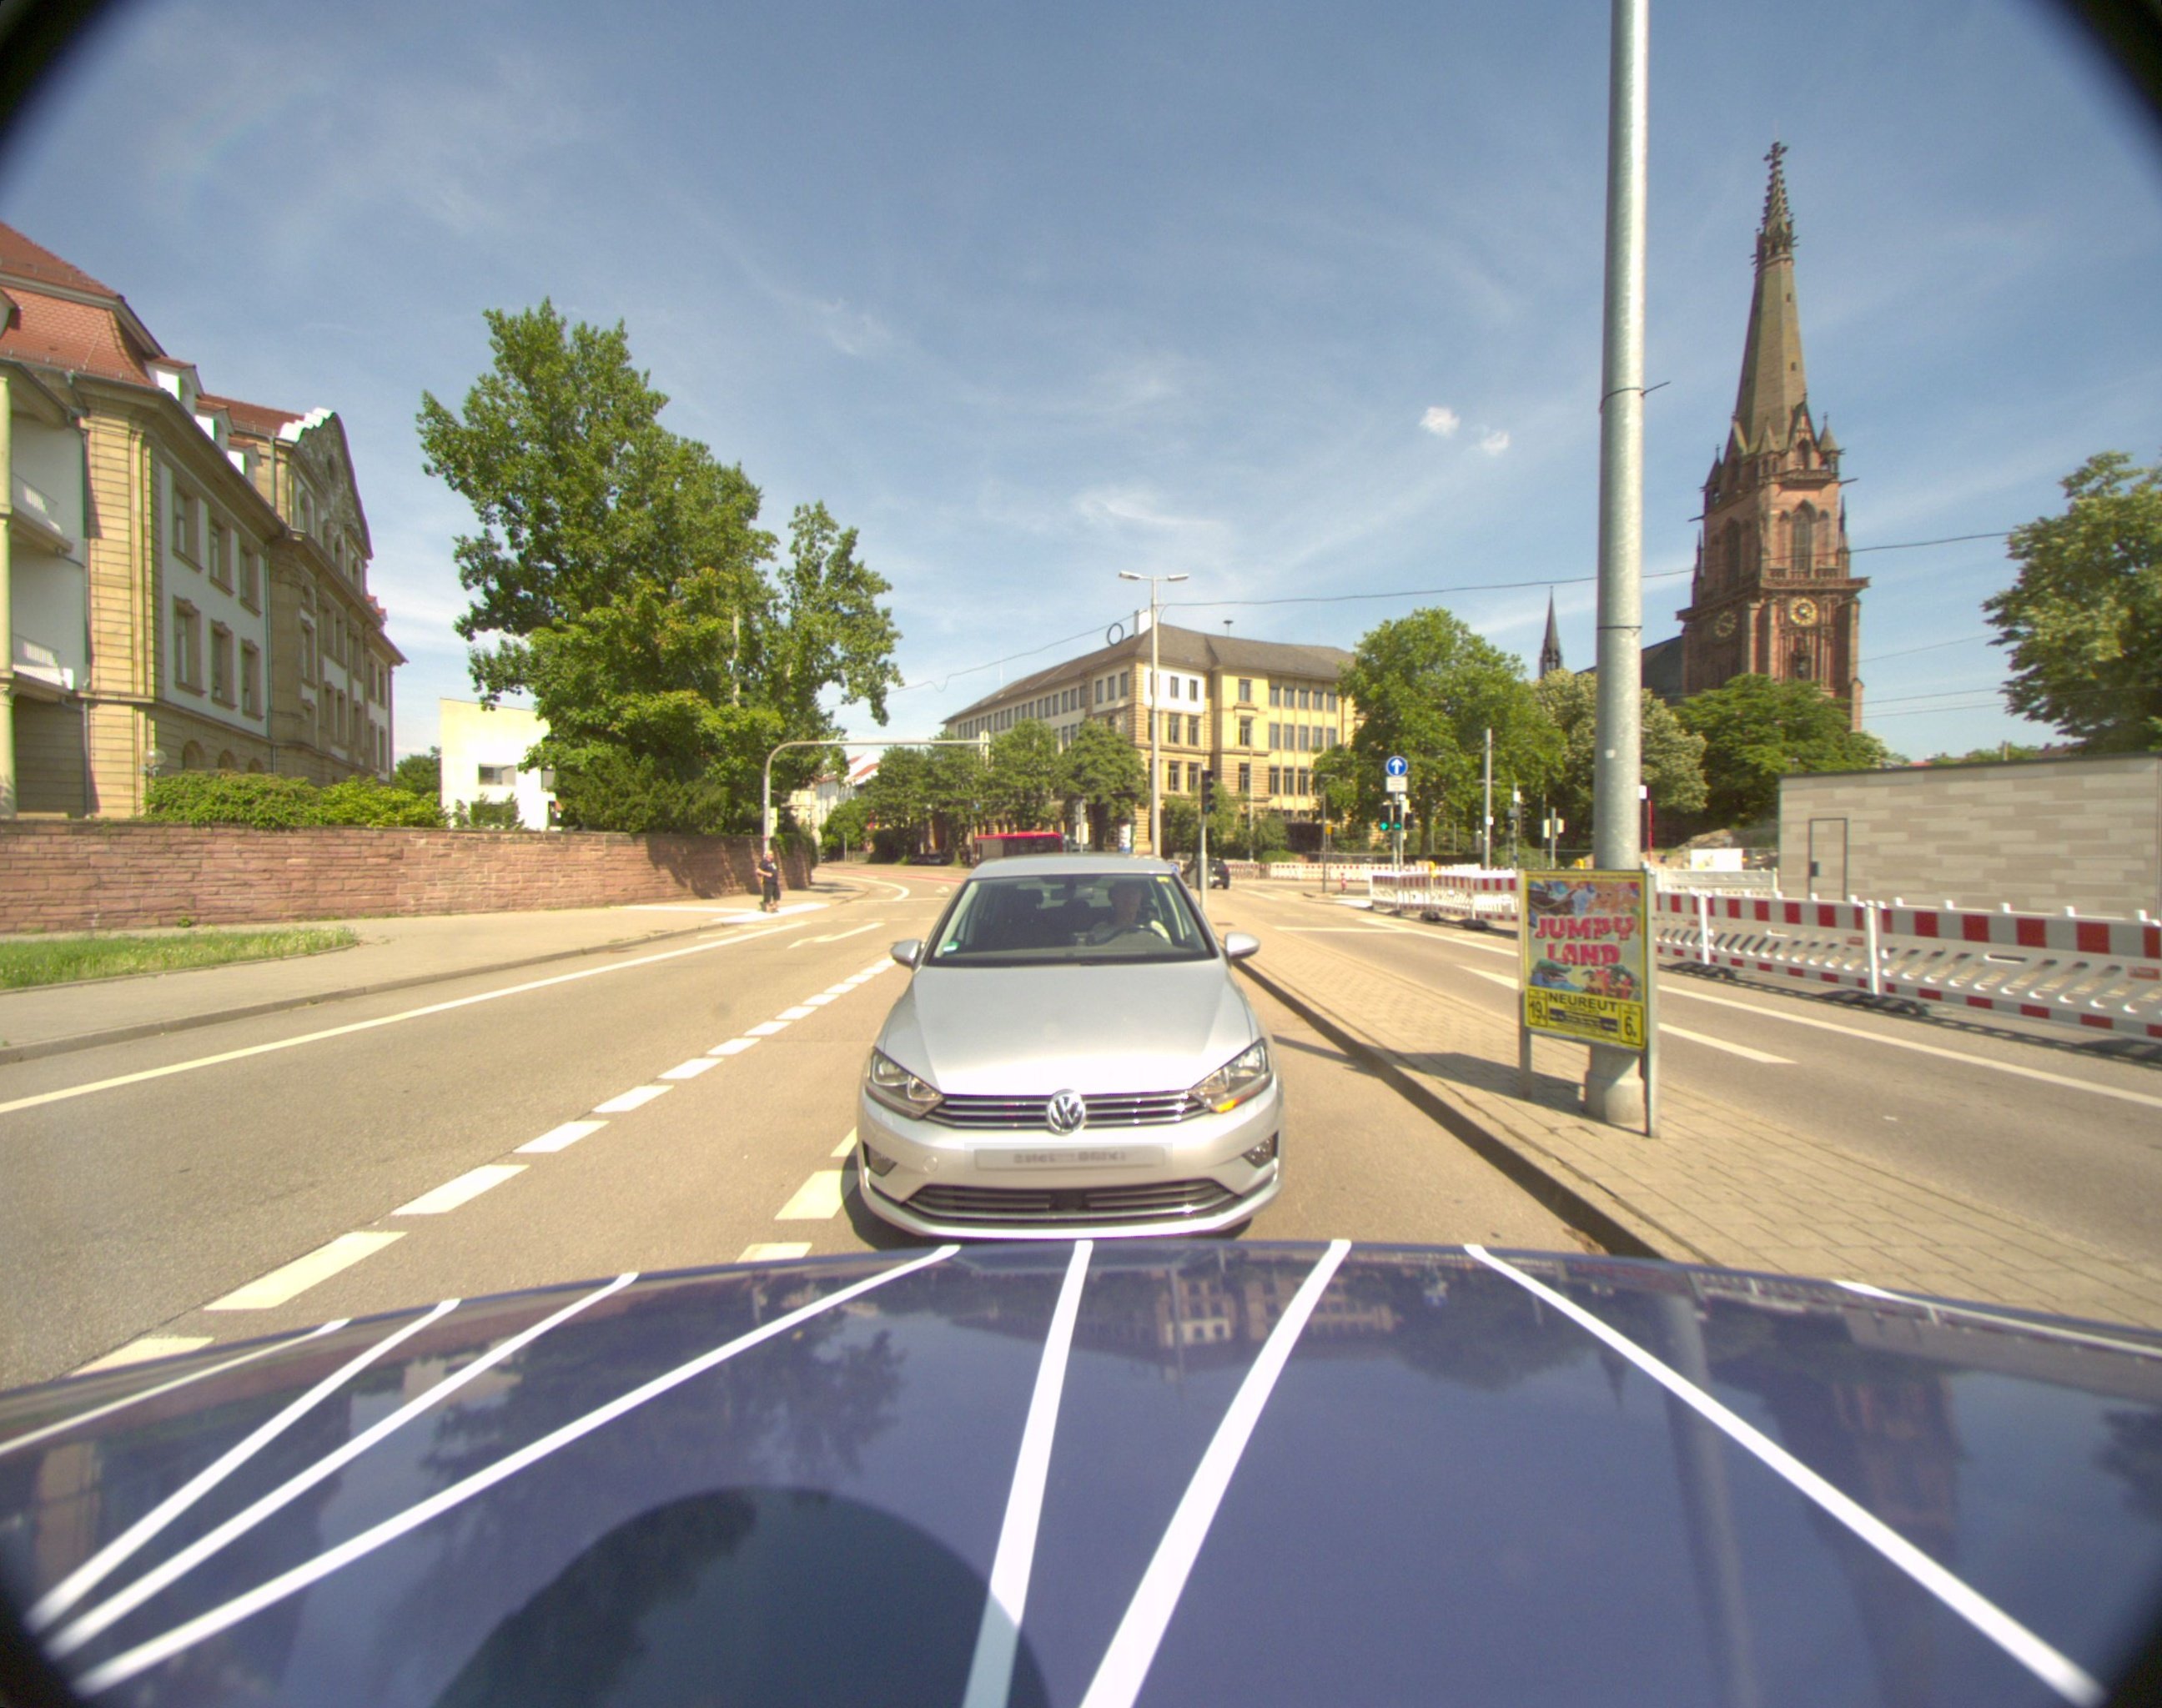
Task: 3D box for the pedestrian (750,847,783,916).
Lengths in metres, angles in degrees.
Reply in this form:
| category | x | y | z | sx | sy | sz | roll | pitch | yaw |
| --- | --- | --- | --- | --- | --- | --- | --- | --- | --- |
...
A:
| category | x | y | z | sx | sy | sz | roll | pitch | yaw |
| --- | --- | --- | --- | --- | --- | --- | --- | --- | --- |
| pedestrian | -9.275 | 0.785 | 22.425 | 0.796 | 2.002 | 0.615 | 0 | 1 | -14 |

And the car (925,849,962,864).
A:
| category | x | y | z | sx | sy | sz | roll | pitch | yaw |
| --- | --- | --- | --- | --- | --- | --- | --- | --- | --- |
| car | -16.982 | 0.274 | 93.936 | 4.006 | 1.653 | 1.994 | -3 | 4 | -35 |

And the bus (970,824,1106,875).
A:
| category | x | y | z | sx | sy | sz | roll | pitch | yaw |
| --- | --- | --- | --- | --- | --- | --- | --- | --- | --- |
| bus | -3.340 | -0.232 | 52.673 | 3.138 | 3.076 | 12.381 | -3 | 1 | -35 |

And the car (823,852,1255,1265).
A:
| category | x | y | z | sx | sy | sz | roll | pitch | yaw |
| --- | --- | --- | --- | --- | --- | --- | --- | --- | --- |
| car | -0.075 | 0.791 | 5.051 | 1.687 | 1.577 | 4.152 | 0 | 0 | 3 |

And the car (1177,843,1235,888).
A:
| category | x | y | z | sx | sy | sz | roll | pitch | yaw |
| --- | --- | --- | --- | --- | --- | --- | --- | --- | --- |
| car | 5.831 | 0.510 | 35.847 | 1.999 | 2.002 | 3.999 | 0 | 0 | -1 |
